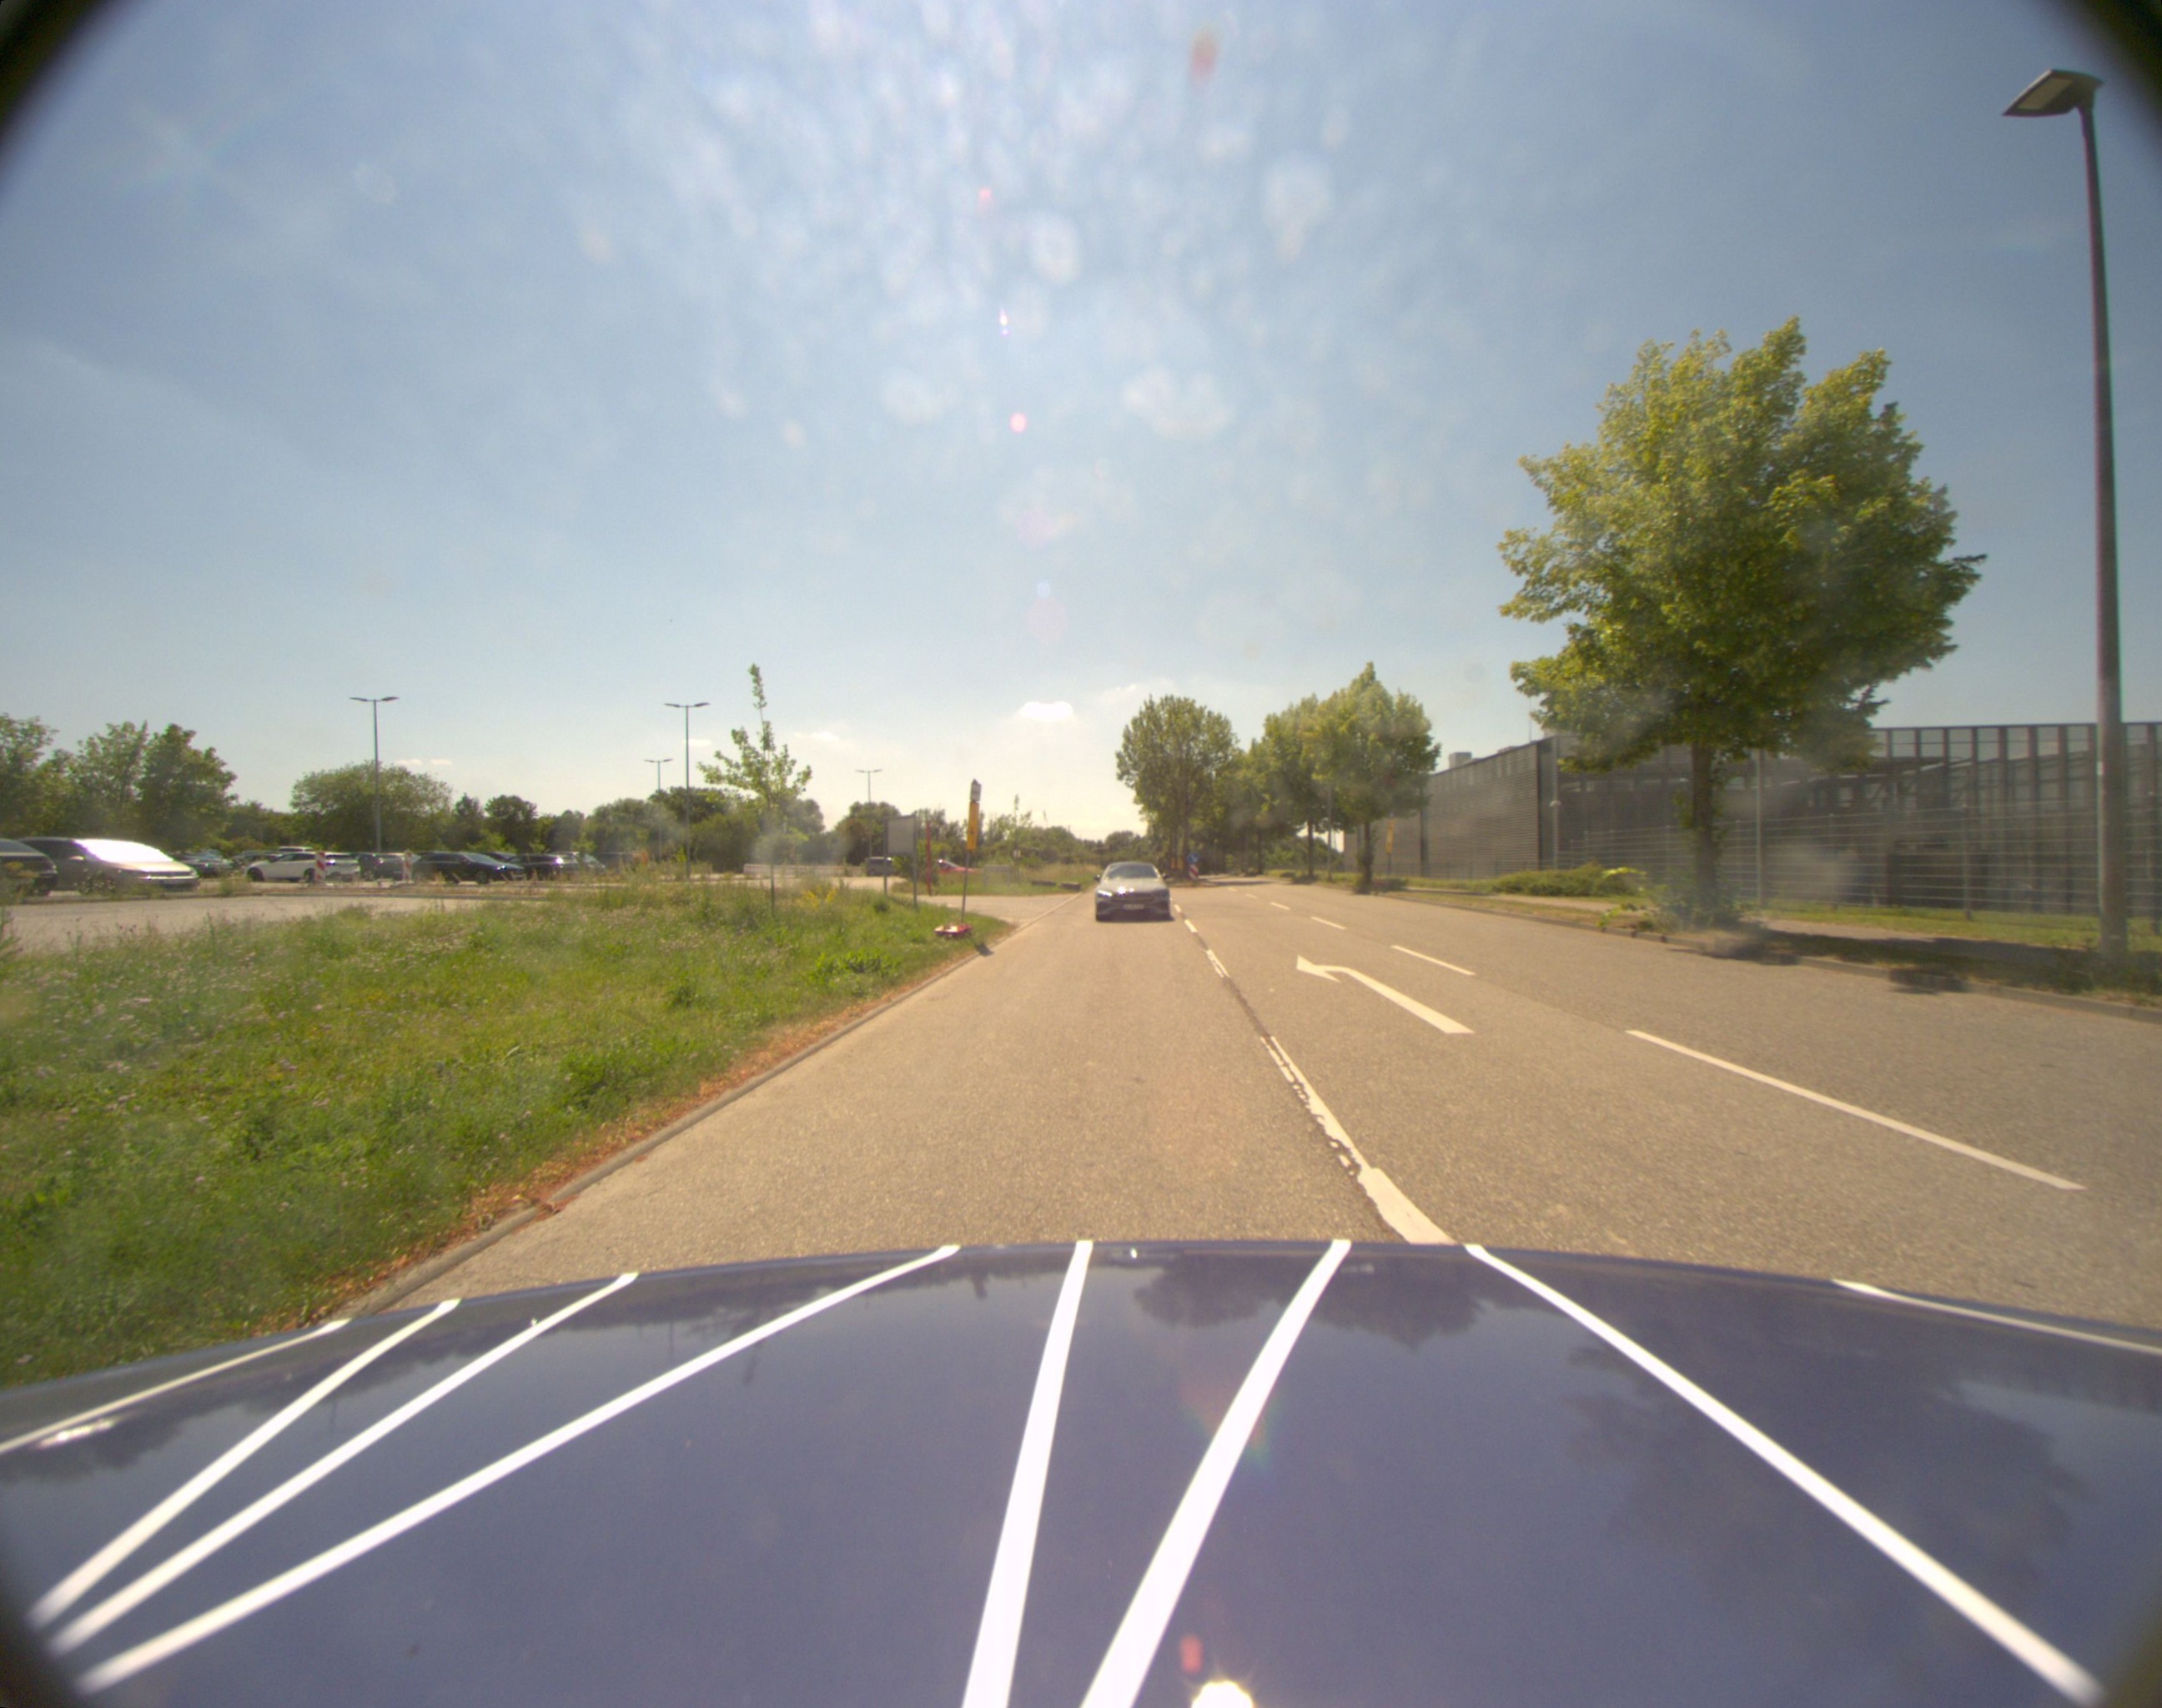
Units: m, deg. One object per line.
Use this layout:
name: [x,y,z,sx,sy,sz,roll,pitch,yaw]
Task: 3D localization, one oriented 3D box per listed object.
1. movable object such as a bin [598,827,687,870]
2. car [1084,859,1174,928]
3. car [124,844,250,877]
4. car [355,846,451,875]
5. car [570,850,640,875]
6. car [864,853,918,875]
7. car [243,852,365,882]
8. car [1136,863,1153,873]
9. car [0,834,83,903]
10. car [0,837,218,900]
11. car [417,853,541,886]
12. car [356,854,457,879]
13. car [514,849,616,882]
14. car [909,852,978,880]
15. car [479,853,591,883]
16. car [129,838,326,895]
movable object such as a bin: [-47.680,-0.514,82.778,8.120,4.018,2.982,3,-4,-30]
car: [1.355,0.925,19.572,1.920,1.433,4.484,-3,0,8]
car: [-42.521,0.284,36.211,3.997,1.510,1.696,0,0,0]
car: [-42.479,0.421,47.691,4.000,1.629,2.000,2,-3,-7]
car: [-34.767,0.626,55.579,3.996,1.747,1.758,1,-1,2]
car: [-17.679,0.956,70.875,4.472,1.903,1.941,1,-2,3]
car: [-36.632,0.594,35.899,3.997,1.333,1.696,0,0,0]
car: [11.449,2.560,137.480,2.001,1.697,3.861,2,-1,-13]
car: [-27.374,0.328,18.257,4.376,1.585,1.770,1,-3,1]
car: [-26.865,0.428,20.976,3.996,1.585,1.770,1,-3,1]
car: [-26.273,0.649,33.225,3.995,1.387,1.928,0,0,4]
car: [-36.650,0.675,41.371,3.997,1.333,1.696,0,0,0]
car: [-26.626,0.570,39.292,3.995,1.632,1.928,0,0,4]
car: [-8.822,0.744,48.966,3.995,1.713,1.928,0,0,4]
car: [-25.797,0.647,35.963,3.995,1.387,1.928,0,0,4]
car: [-26.061,0.417,23.309,3.996,1.585,1.770,1,-3,1]
